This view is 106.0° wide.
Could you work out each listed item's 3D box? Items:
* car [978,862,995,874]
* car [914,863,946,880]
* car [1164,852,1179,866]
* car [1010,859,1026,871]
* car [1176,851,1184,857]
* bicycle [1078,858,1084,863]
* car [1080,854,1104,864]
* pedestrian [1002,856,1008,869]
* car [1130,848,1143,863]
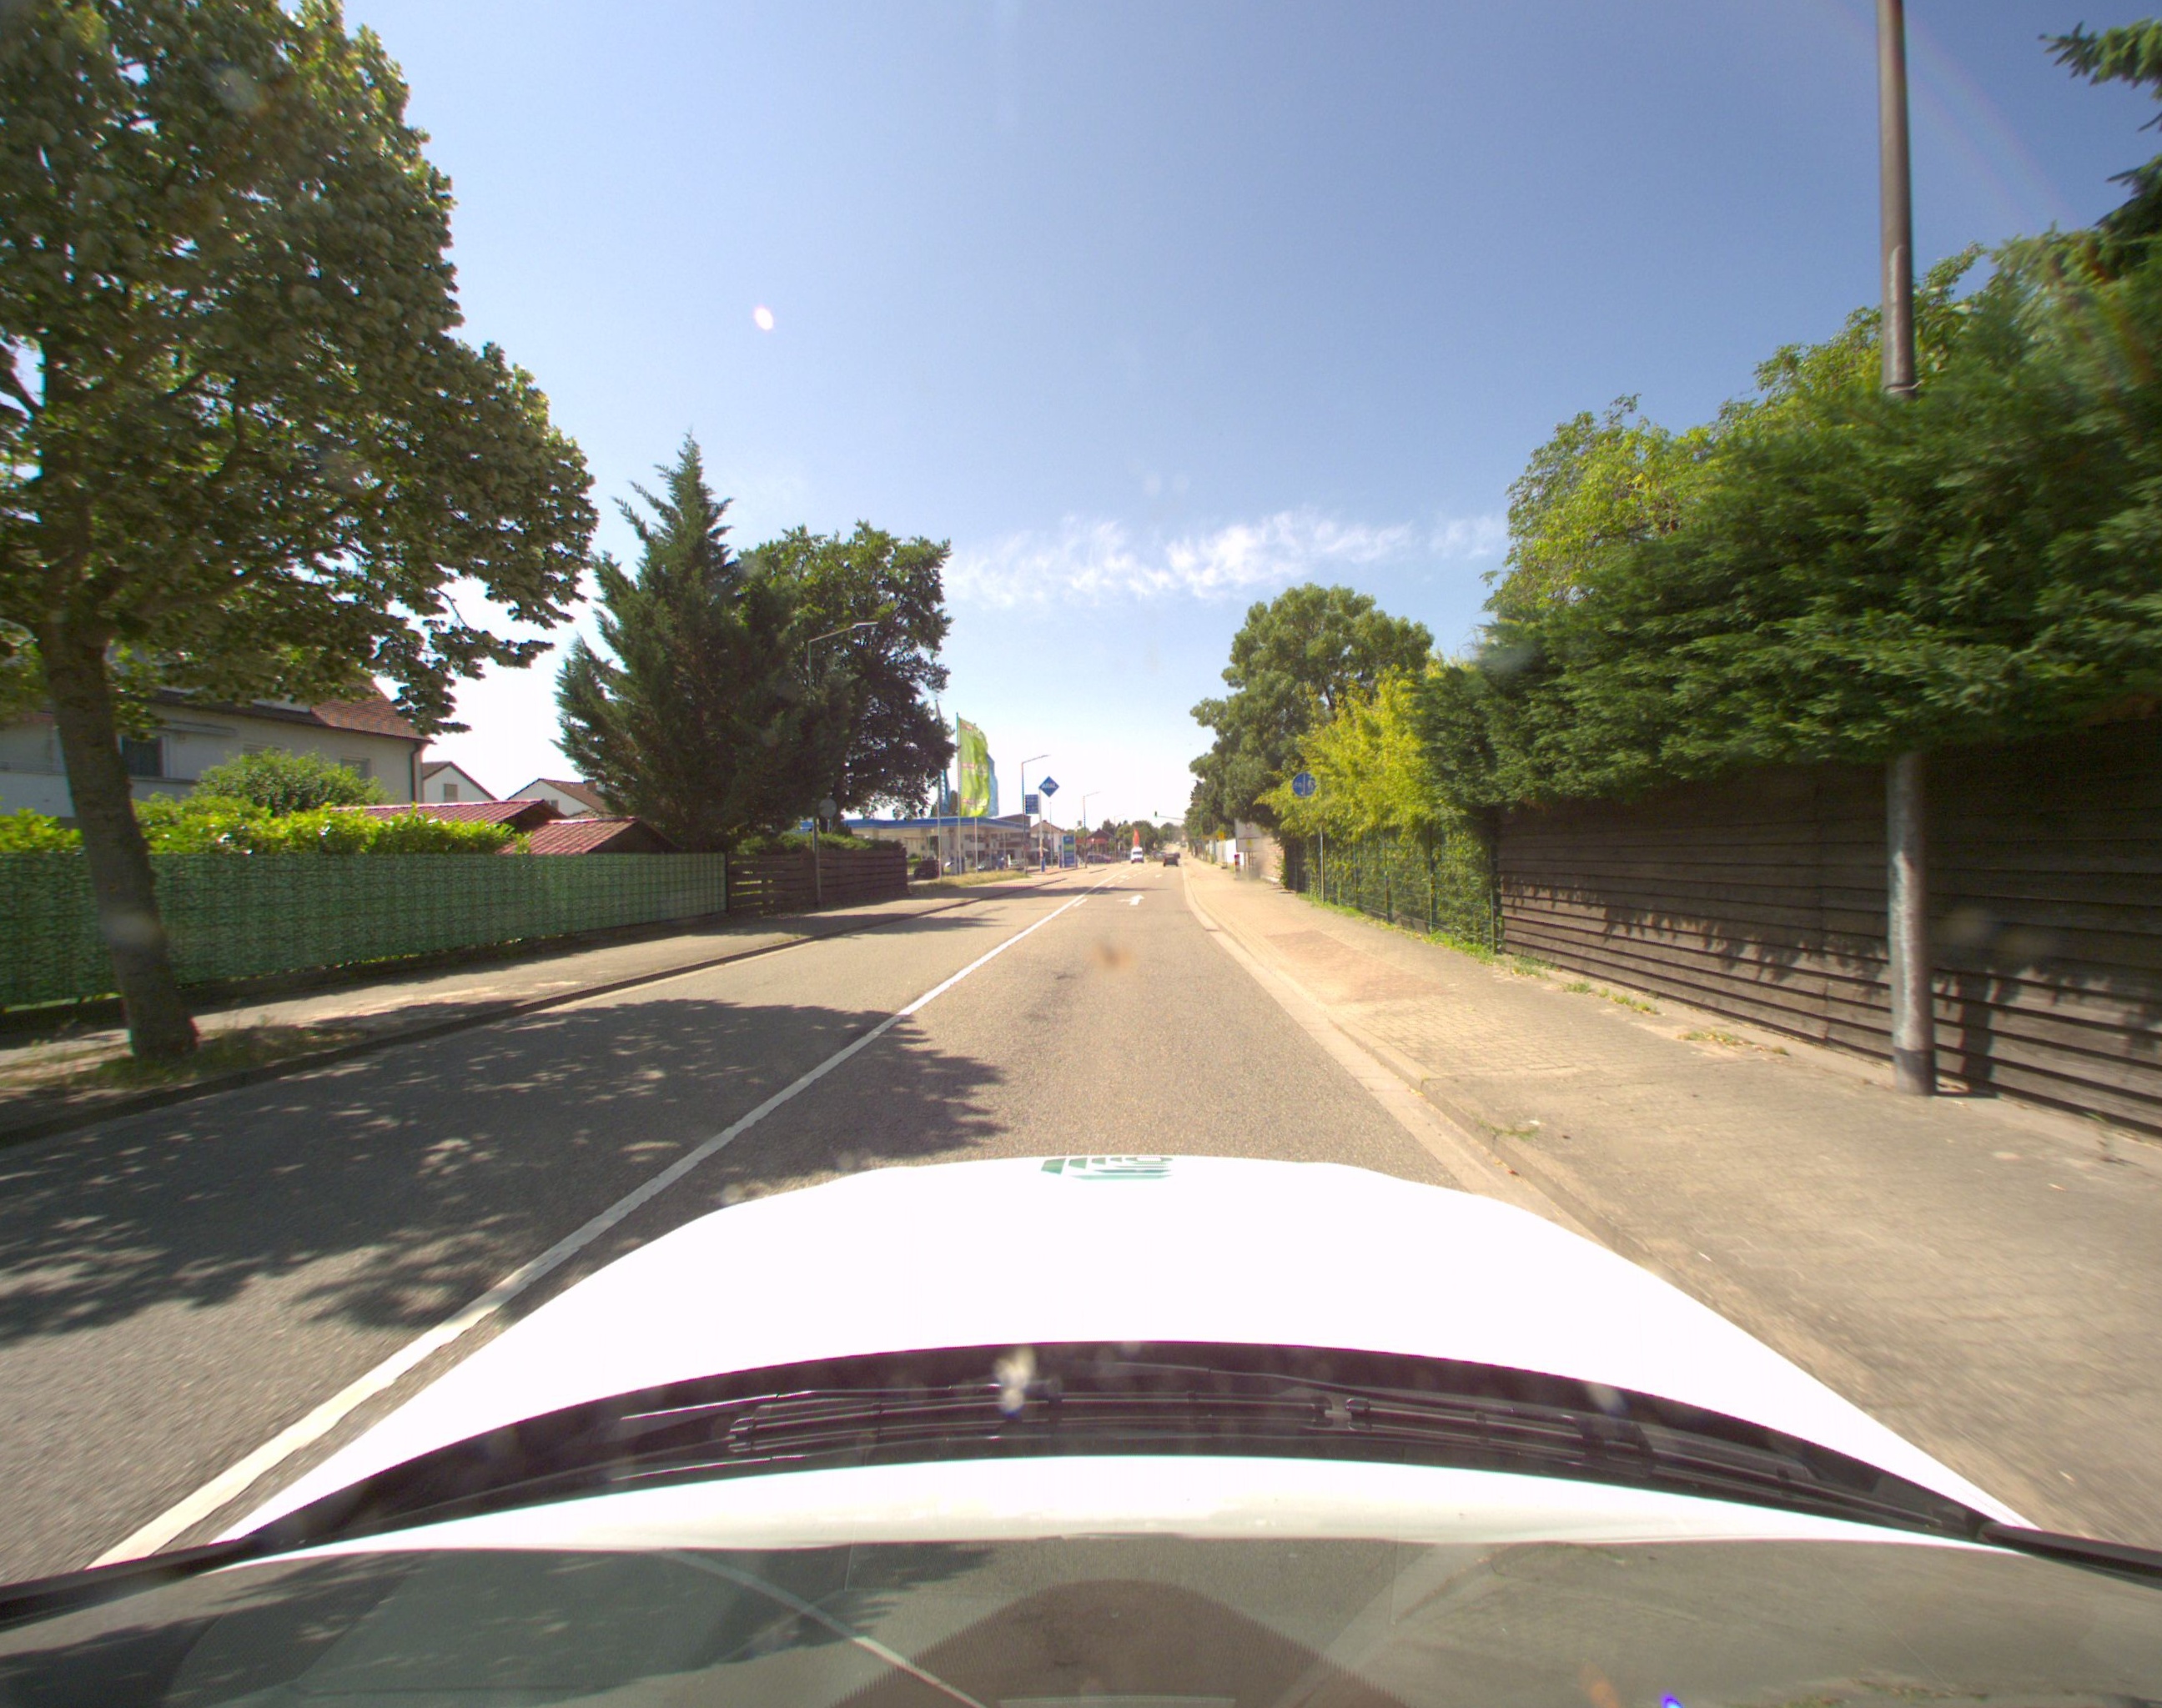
[{"bbox_3d":[-12.804,1.840,110.357,1.610,1.420,3.714,-4,0,3],"label":"car"},{"bbox_3d":[-13.776,1.549,74.633,1.661,1.381,4.008,-3,0,7],"label":"car"},{"bbox_3d":[10.258,0.598,92.230,1.657,1.455,3.479,-3,0,7],"label":"car"},{"bbox_3d":[-8.554,1.468,110.605,1.610,1.420,3.714,-4,0,3],"label":"car"},{"bbox_3d":[24.018,0.044,197.513,1.657,1.455,3.479,-3,0,7],"label":"car"},{"bbox_3d":[-0.065,1.086,131.762,0.609,0.793,2.580,-3,0,7],"label":"bicycle"},{"bbox_3d":[1.878,0.871,140.173,3.970,1.508,1.556,-3,0,3],"label":"car"},{"bbox_3d":[-10.362,1.188,111.421,0.612,1.691,0.704,-2,0,-19],"label":"pedestrian"},{"bbox_3d":[9.466,0.251,138.077,1.984,2.423,5.954,-1,-1,4],"label":"car"}]
